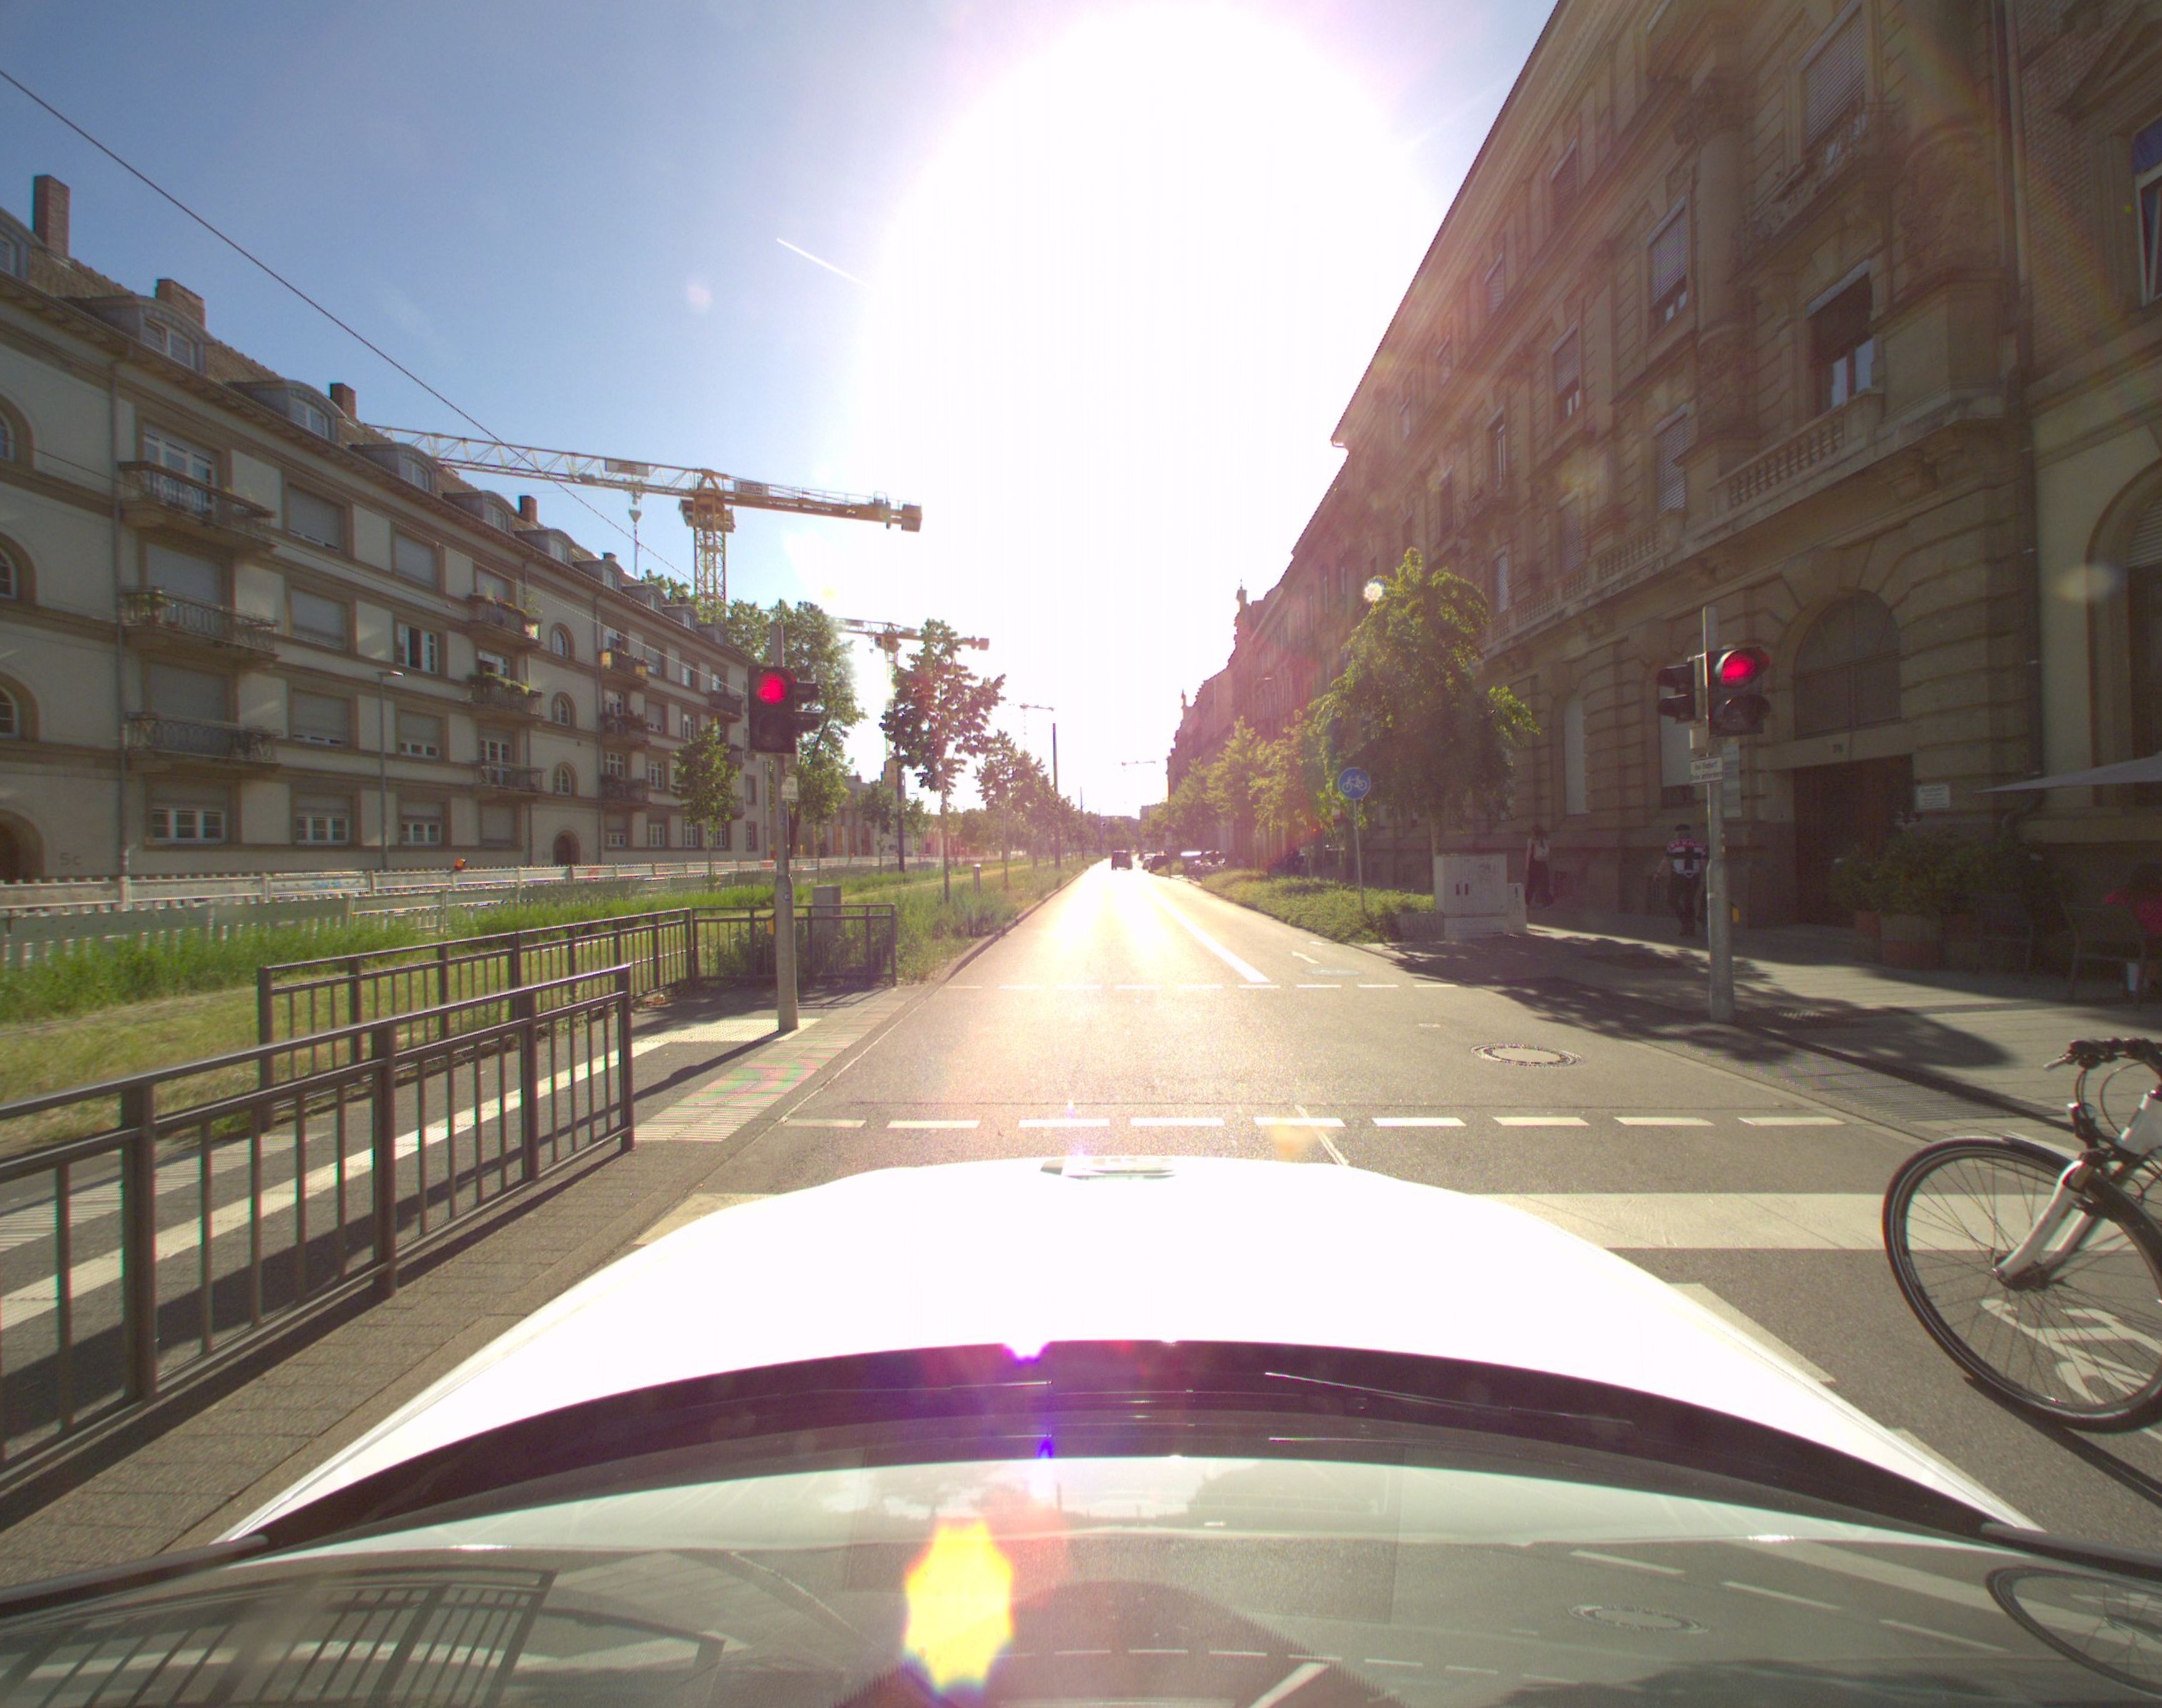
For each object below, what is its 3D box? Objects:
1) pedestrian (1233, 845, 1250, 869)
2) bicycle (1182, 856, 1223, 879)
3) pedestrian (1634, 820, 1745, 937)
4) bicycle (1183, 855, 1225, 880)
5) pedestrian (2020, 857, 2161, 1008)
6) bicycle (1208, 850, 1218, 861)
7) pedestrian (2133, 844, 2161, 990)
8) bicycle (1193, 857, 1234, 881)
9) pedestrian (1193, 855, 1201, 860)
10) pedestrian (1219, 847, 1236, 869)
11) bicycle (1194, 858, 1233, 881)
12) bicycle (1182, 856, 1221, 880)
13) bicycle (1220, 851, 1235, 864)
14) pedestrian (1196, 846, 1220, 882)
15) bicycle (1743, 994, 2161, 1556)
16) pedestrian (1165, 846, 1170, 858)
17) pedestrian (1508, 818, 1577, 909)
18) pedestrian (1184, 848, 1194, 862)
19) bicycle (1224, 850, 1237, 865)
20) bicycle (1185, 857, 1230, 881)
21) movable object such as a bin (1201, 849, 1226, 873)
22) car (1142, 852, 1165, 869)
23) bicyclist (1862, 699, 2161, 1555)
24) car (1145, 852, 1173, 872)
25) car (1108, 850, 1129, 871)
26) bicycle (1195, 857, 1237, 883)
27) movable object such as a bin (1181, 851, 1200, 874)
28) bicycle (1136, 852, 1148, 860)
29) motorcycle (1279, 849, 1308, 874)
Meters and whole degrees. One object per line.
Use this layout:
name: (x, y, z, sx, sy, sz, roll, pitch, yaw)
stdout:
pedestrian: (11.634, 0.203, 59.026, 0.967, 1.639, 0.993, -3, 1, 2)
bicycle: (6.577, 0.730, 44.021, 2.040, 1.107, 0.610, -4, 0, -4)
pedestrian: (9.384, 0.361, 12.615, 0.962, 1.692, 1.118, -3, 0, 16)
bicycle: (6.487, 0.706, 42.938, 2.148, 1.154, 0.428, -5, 0, -12)
pedestrian: (8.904, 0.630, 6.955, 0.715, 1.183, 0.881, -2, -1, 1)
bicycle: (13.547, 0.198, 83.918, 0.718, 1.090, 2.200, -3, 0, 2)
pedestrian: (9.866, 0.541, 6.898, 0.722, 1.282, 0.888, -2, -1, 1)
bicycle: (6.723, 0.742, 41.422, 1.971, 1.108, 0.435, -3, -1, -1)
pedestrian: (14.333, 0.461, 100.702, 0.770, 0.553, 2.008, -2, 1, 2)
pedestrian: (10.600, 0.276, 58.949, 0.947, 1.566, 1.080, -2, 1, 1)
bicycle: (6.668, 0.773, 41.079, 1.811, 1.056, 0.571, -3, -1, -4)
bicycle: (6.586, 0.736, 44.429, 1.970, 1.124, 0.481, -5, 1, -4)
bicycle: (13.060, 0.314, 72.752, 0.873, 1.105, 2.181, -4, 0, -1)
pedestrian: (6.439, 0.483, 41.240, 0.898, 1.735, 0.848, -5, 0, -5)
bicycle: (2.653, 0.987, 1.768, 0.722, 1.006, 1.948, 0, 0, -6)
pedestrian: (14.704, -0.339, 138.187, 0.814, 2.014, 1.046, 0, -3, 2)
pedestrian: (10.264, 0.201, 18.170, 0.885, 1.920, 1.100, -3, 0, 7)
pedestrian: (12.904, 0.126, 97.274, 0.992, 1.731, 0.866, 0, -1, 1)
bicycle: (12.770, 0.325, 69.691, 0.745, 1.201, 1.802, -3, -1, 2)
bicycle: (6.617, 0.780, 42.590, 2.287, 1.102, 0.484, -3, 0, -13)
movable object such as a bin: (8.922, 0.467, 54.802, 1.368, 1.495, 1.750, -4, -1, 3)
car: (7.062, 0.592, 80.278, 1.944, 1.495, 5.108, -3, 0, 2)
bicyclist: (2.645, 0.578, 1.824, 0.722, 1.817, 1.088, 0, 0, -7)
car: (6.462, 0.658, 67.575, 1.760, 1.477, 4.447, -4, -1, -1)
car: (3.717, 0.653, 79.748, 1.985, 2.014, 4.004, 0, -1, 4)
bicycle: (6.573, 0.777, 39.607, 1.887, 1.108, 0.517, -3, -1, -4)
movable object such as a bin: (7.326, 0.534, 54.667, 1.264, 1.463, 1.647, 0, 2, 6)
bicycle: (10.265, 0.277, 137.611, 1.875, 1.233, 0.499, -4, -1, -4)
motorcycle: (11.520, 0.405, 44.250, 0.862, 1.266, 2.983, 0, -1, 2)
